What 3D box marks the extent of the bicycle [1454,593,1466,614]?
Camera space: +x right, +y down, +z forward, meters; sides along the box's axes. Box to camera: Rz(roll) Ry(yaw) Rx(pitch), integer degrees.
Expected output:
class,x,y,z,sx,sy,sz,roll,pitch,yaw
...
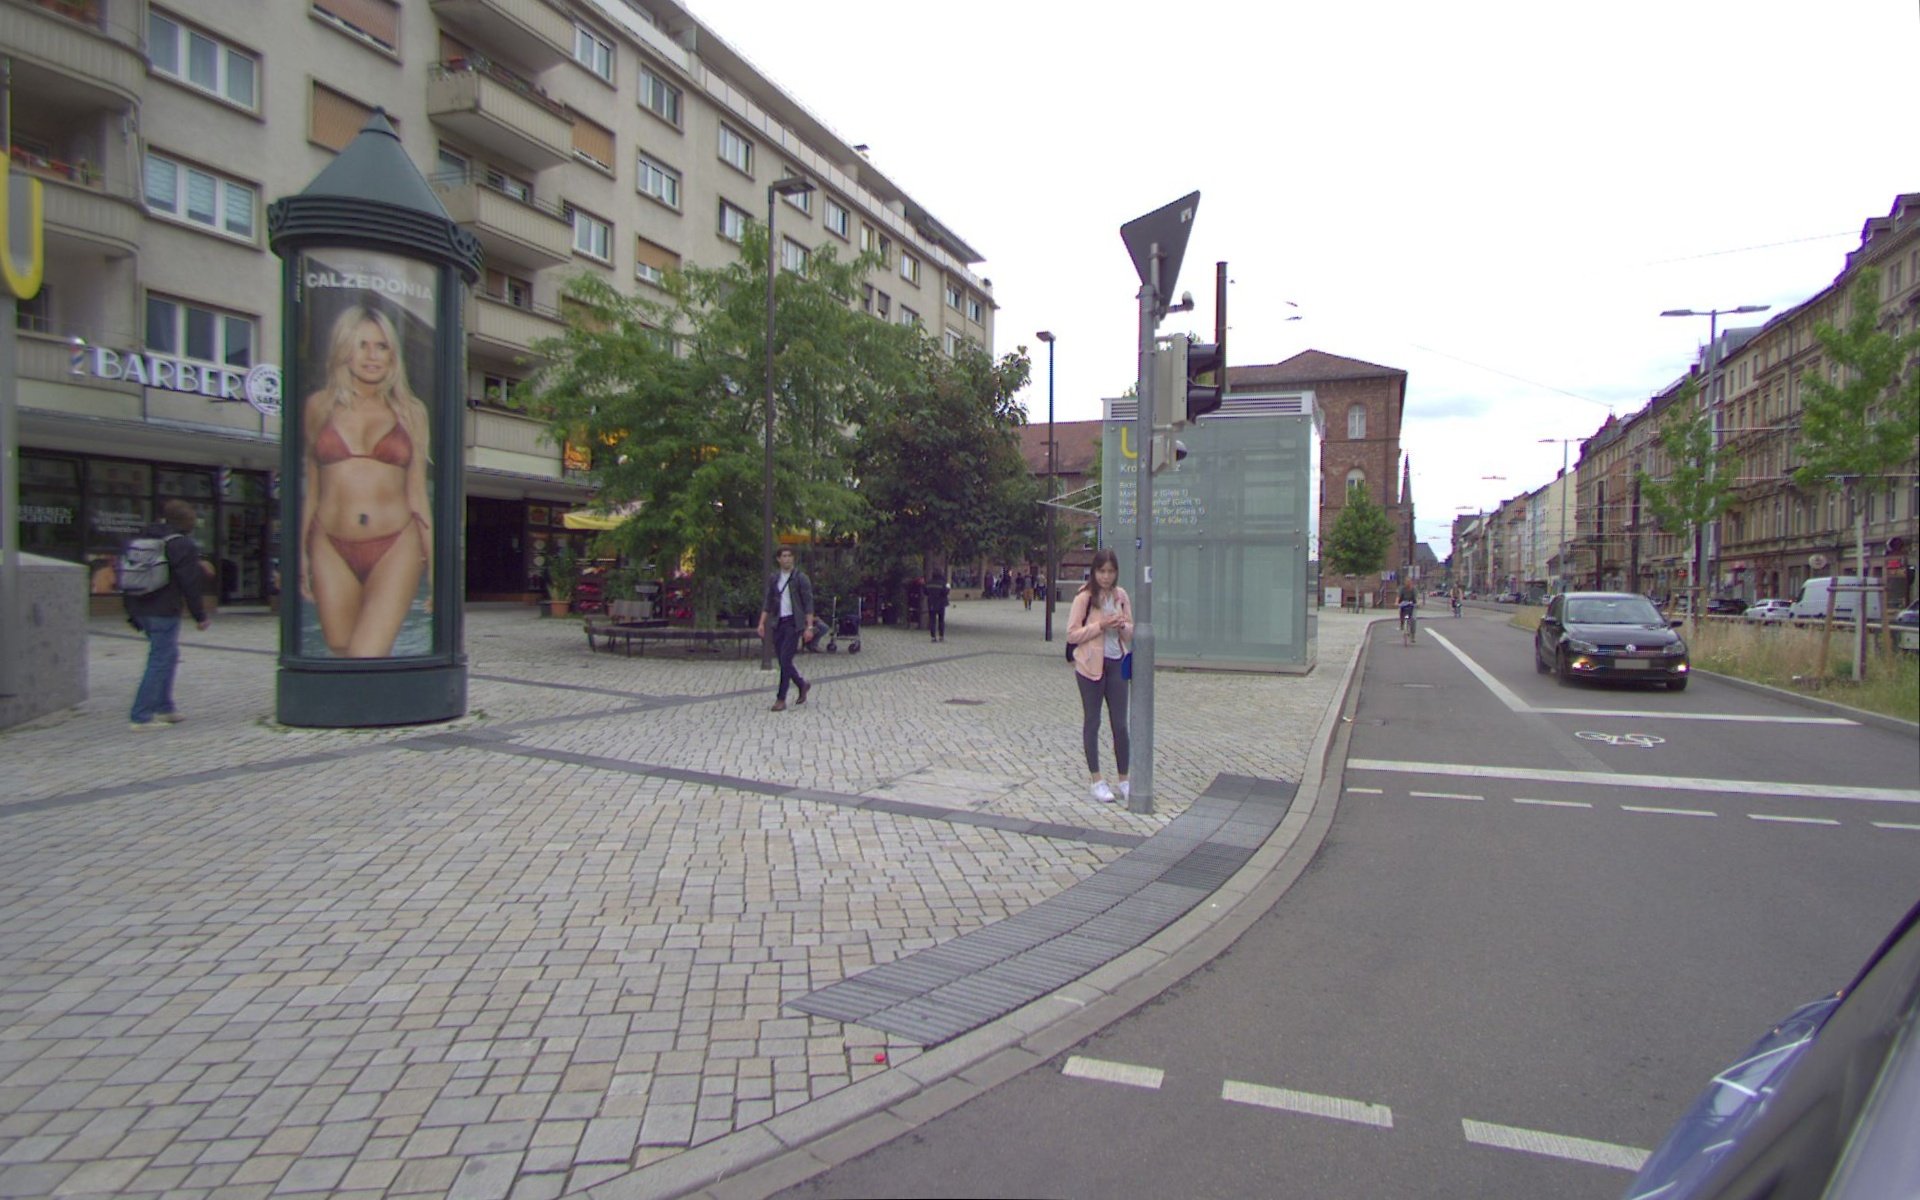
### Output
class,x,y,z,sx,sy,sz,roll,pitch,yaw
bicycle,28.953,0.205,58.657,0.467,1.173,2.255,1,1,23

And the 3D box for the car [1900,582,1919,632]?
class,x,y,z,sx,sy,sz,roll,pitch,yaw
car,37.452,0.318,37.771,1.887,1.887,4.488,3,2,21

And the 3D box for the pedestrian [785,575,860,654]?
class,x,y,z,sx,sy,sz,roll,pitch,yaw
pedestrian,-2.408,0.234,17.709,1.038,1.313,0.725,3,2,29

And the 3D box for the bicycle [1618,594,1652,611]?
class,x,y,z,sx,sy,sz,roll,pitch,yaw
bicycle,58.309,0.221,87.404,2.265,1.346,0.661,3,1,25

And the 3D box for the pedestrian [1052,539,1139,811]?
class,x,y,z,sx,sy,sz,roll,pitch,yaw
pedestrian,0.949,0.489,7.000,0.517,1.784,0.599,0,0,16

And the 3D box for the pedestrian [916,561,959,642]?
class,x,y,z,sx,sy,sz,roll,pitch,yaw
pedestrian,-0.476,0.013,21.935,0.619,1.705,0.865,2,2,19

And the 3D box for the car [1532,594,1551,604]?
class,x,y,z,sx,sy,sz,roll,pitch,yaw
car,80.478,-0.137,140.145,1.632,1.398,3.413,2,1,20

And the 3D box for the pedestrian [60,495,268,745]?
class,x,y,z,sx,sy,sz,roll,pitch,yaw
pedestrian,-6.523,0.127,8.321,0.800,1.885,1.139,3,2,33

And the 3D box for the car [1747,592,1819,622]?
class,x,y,z,sx,sy,sz,roll,pitch,yaw
car,44.414,0.362,54.719,1.756,1.440,4.135,3,2,21

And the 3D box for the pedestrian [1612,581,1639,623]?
class,x,y,z,sx,sy,sz,roll,pitch,yaw
pedestrian,31.211,0.068,47.467,0.862,1.925,0.767,2,1,22

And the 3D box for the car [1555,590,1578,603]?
class,x,y,z,sx,sy,sz,roll,pitch,yaw
car,73.224,-0.376,122.220,1.729,1.483,4.015,2,1,22

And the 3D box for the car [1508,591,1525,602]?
class,x,y,z,sx,sy,sz,roll,pitch,yaw
car,90.210,-0.503,164.038,1.908,1.754,3.798,0,1,23

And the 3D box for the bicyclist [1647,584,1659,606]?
class,x,y,z,sx,sy,sz,roll,pitch,yaw
bicyclist,46.153,-0.320,67.410,0.475,1.424,0.806,1,1,22

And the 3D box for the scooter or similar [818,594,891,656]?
class,x,y,z,sx,sy,sz,roll,pitch,yaw
scooter or similar,-1.878,0.424,17.811,0.710,0.960,1.595,1,2,-28

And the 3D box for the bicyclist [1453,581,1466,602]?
class,x,y,z,sx,sy,sz,roll,pitch,yaw
bicyclist,28.957,-0.488,58.675,0.581,1.186,0.657,1,1,23

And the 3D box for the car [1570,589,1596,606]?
class,x,y,z,sx,sy,sz,roll,pitch,yaw
car,67.232,-0.298,109.312,1.729,1.693,4.015,2,1,22

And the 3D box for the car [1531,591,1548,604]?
class,x,y,z,sx,sy,sz,roll,pitch,yaw
car,82.664,-0.357,144.327,1.690,1.779,3.887,2,1,25

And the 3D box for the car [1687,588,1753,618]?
class,x,y,z,sx,sy,sz,roll,pitch,yaw
car,47.576,0.159,63.471,1.903,1.710,5.016,3,2,21

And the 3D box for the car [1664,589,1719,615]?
class,x,y,z,sx,sy,sz,roll,pitch,yaw
car,51.576,0.108,71.445,1.797,1.711,4.998,2,1,20

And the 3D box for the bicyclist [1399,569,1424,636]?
class,x,y,z,sx,sy,sz,roll,pitch,yaw
bicyclist,11.696,0.065,26.204,0.565,1.705,0.786,1,1,26

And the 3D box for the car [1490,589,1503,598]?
class,x,y,z,sx,sy,sz,roll,pitch,yaw
car,101.647,-1.270,191.859,1.849,1.582,3.969,3,2,23

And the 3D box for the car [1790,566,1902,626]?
class,x,y,z,sx,sy,sz,roll,pitch,yaw
car,41.406,-0.212,47.472,2.036,2.517,5.624,3,2,22

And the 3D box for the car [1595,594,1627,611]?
class,x,y,z,sx,sy,sz,roll,pitch,yaw
car,61.436,0.239,95.604,1.729,1.552,4.193,2,1,22

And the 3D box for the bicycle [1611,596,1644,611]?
class,x,y,z,sx,sy,sz,roll,pitch,yaw
bicycle,59.307,0.286,89.939,2.265,1.218,0.699,3,1,25

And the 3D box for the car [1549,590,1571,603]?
class,x,y,z,sx,sy,sz,roll,pitch,yaw
car,74.877,-0.415,126.320,1.810,1.540,4.508,2,1,23

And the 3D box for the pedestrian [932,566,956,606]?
class,x,y,z,sx,sy,sz,roll,pitch,yaw
pedestrian,-0.735,-0.648,46.060,0.703,1.773,0.777,2,1,-28

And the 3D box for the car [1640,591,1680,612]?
class,x,y,z,sx,sy,sz,roll,pitch,yaw
car,54.307,0.125,78.578,1.729,1.507,3.891,2,1,22

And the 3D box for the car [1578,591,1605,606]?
class,x,y,z,sx,sy,sz,roll,pitch,yaw
car,65.371,-0.137,104.784,1.730,1.507,3.888,2,1,24

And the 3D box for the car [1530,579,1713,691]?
class,x,y,z,sx,sy,sz,roll,pitch,yaw
car,10.438,0.467,16.241,1.728,1.566,3.624,0,1,21

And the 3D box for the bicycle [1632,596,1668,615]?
class,x,y,z,sx,sy,sz,roll,pitch,yaw
bicycle,55.697,0.429,81.745,2.265,1.346,0.661,3,1,25

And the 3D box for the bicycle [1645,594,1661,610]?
class,x,y,z,sx,sy,sz,roll,pitch,yaw
bicycle,46.219,0.139,67.508,0.475,1.033,1.898,1,1,21

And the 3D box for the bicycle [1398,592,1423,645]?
class,x,y,z,sx,sy,sz,roll,pitch,yaw
bicycle,11.678,0.456,26.229,0.519,1.276,1.924,1,1,26

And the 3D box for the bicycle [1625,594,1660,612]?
class,x,y,z,sx,sy,sz,roll,pitch,yaw
bicycle,56.745,0.242,84.136,2.265,1.346,0.661,3,1,25

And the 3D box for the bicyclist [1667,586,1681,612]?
class,x,y,z,sx,sy,sz,roll,pitch,yaw
bicyclist,43.764,-0.045,62.020,0.487,1.560,0.806,1,1,22

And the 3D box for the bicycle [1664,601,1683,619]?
class,x,y,z,sx,sy,sz,roll,pitch,yaw
bicycle,43.754,0.602,62.079,0.472,1.033,1.898,1,1,22

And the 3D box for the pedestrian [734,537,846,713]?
class,x,y,z,sx,sy,sz,roll,pitch,yaw
pedestrian,-1.869,0.245,11.235,0.708,1.824,1.070,4,2,22

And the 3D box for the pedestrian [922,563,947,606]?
class,x,y,z,sx,sy,sz,roll,pitch,yaw
pedestrian,-1.141,-0.688,45.039,0.835,1.909,0.777,0,0,-28
